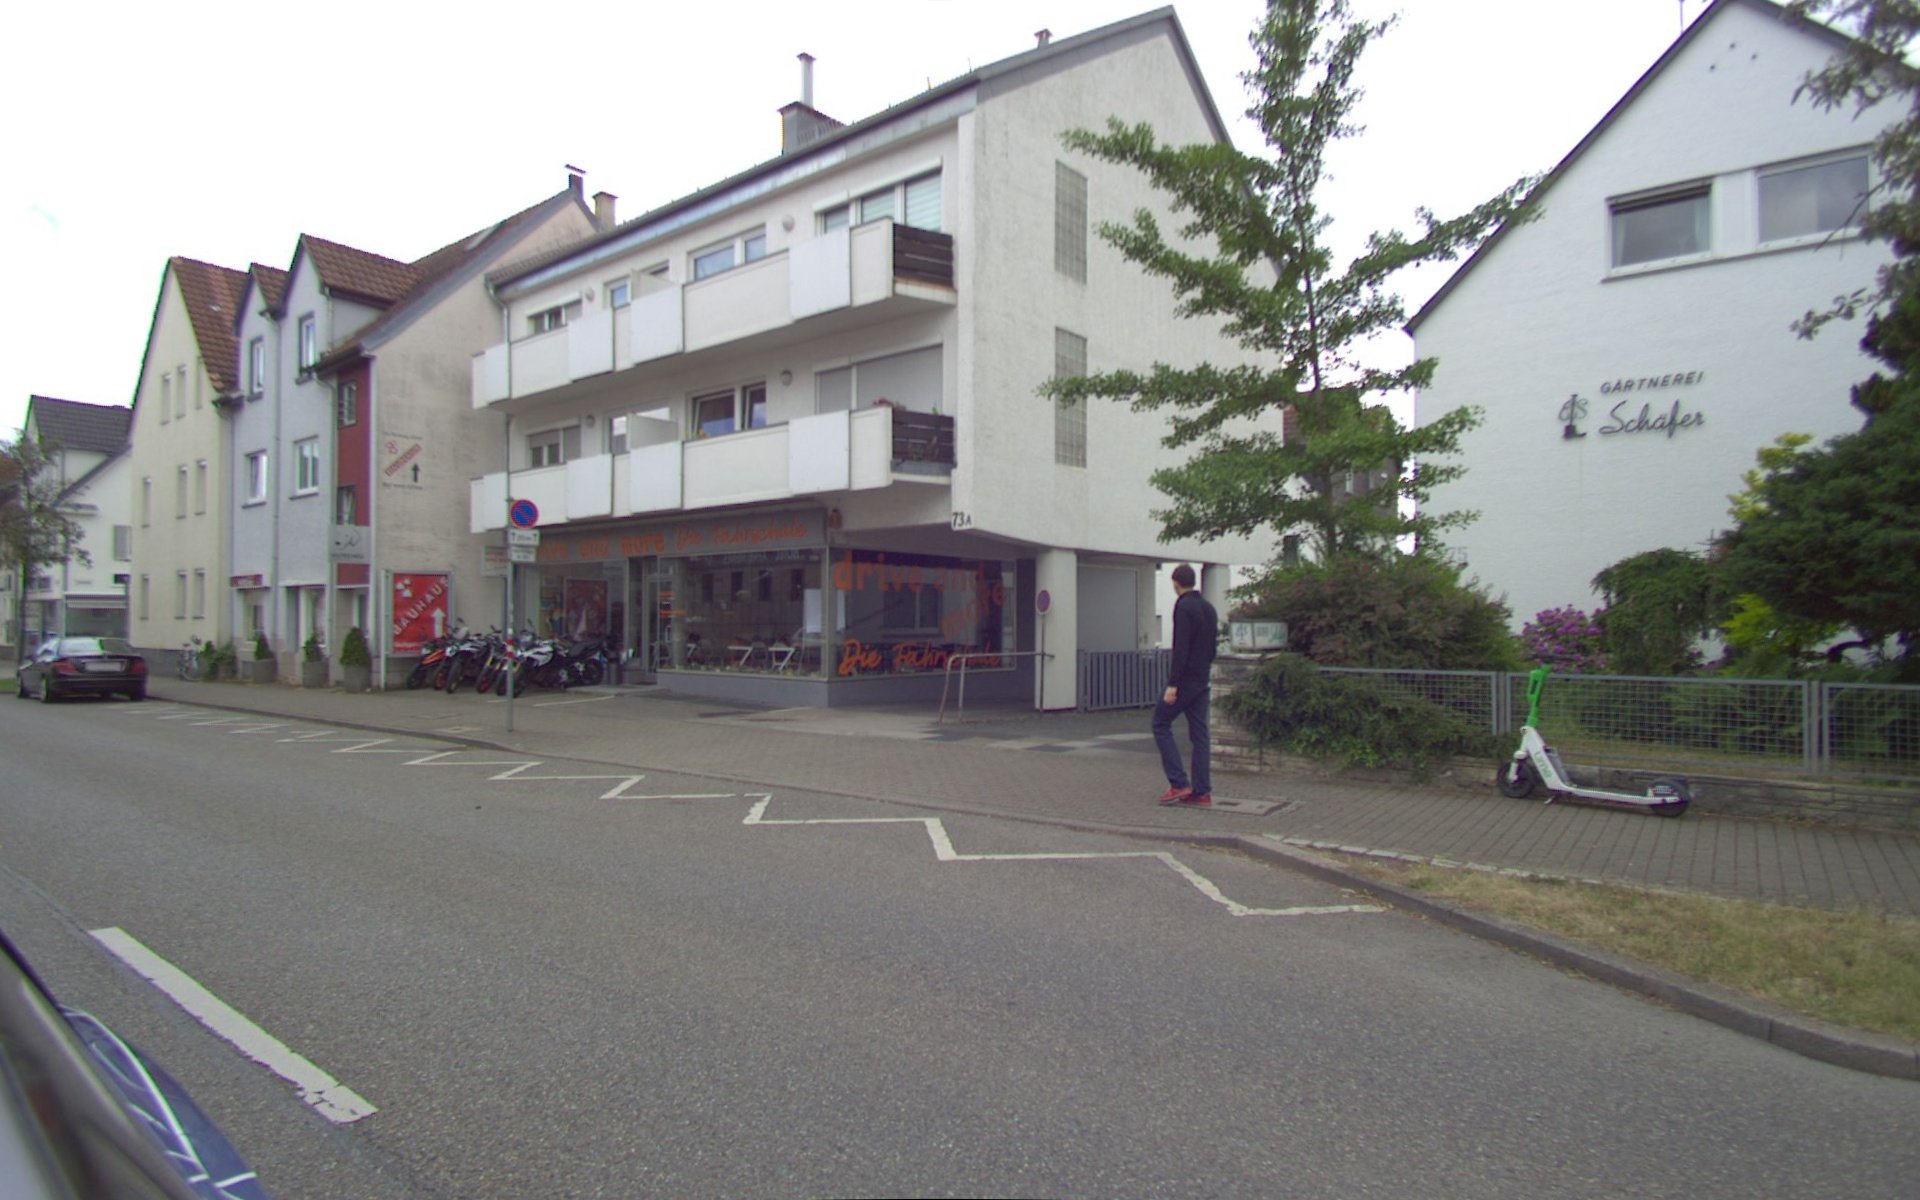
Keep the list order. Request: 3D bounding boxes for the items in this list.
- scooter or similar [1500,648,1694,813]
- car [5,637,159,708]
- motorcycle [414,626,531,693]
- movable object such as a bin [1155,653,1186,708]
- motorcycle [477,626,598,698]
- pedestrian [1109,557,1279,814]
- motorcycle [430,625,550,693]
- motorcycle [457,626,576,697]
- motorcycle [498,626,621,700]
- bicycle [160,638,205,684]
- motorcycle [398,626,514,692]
[{"bbox_3d":[4.732,0.934,7.554,1.179,1.120,0.336,-1,-1,39],"label":"scooter or similar"},{"bbox_3d":[-19.603,1.541,22.548,4.335,1.428,1.770,-1,-3,38],"label":"car"},{"bbox_3d":[-10.483,1.249,21.835,0.612,1.275,2.204,-1,1,37],"label":"motorcycle"},{"bbox_3d":[4.148,1.576,19.932,0.441,1.065,0.483,-2,-4,39],"label":"movable object such as a bin"},{"bbox_3d":[-8.457,1.210,20.359,0.612,1.275,2.204,-1,1,37],"label":"motorcycle"},{"bbox_3d":[1.841,0.617,7.969,1.018,1.863,0.744,-1,1,39],"label":"pedestrian"},{"bbox_3d":[-9.854,1.206,21.312,0.698,1.275,2.204,-1,1,37],"label":"motorcycle"},{"bbox_3d":[-9.100,1.225,20.851,0.612,1.275,2.204,-1,1,37],"label":"motorcycle"},{"bbox_3d":[-7.771,1.193,19.751,0.612,1.275,2.204,-1,1,37],"label":"motorcycle"},{"bbox_3d":[-21.349,1.645,27.778,2.021,1.205,0.509,-1,-1,38],"label":"bicycle"},{"bbox_3d":[-11.051,1.266,22.260,0.612,1.275,2.204,-1,1,37],"label":"motorcycle"}]
